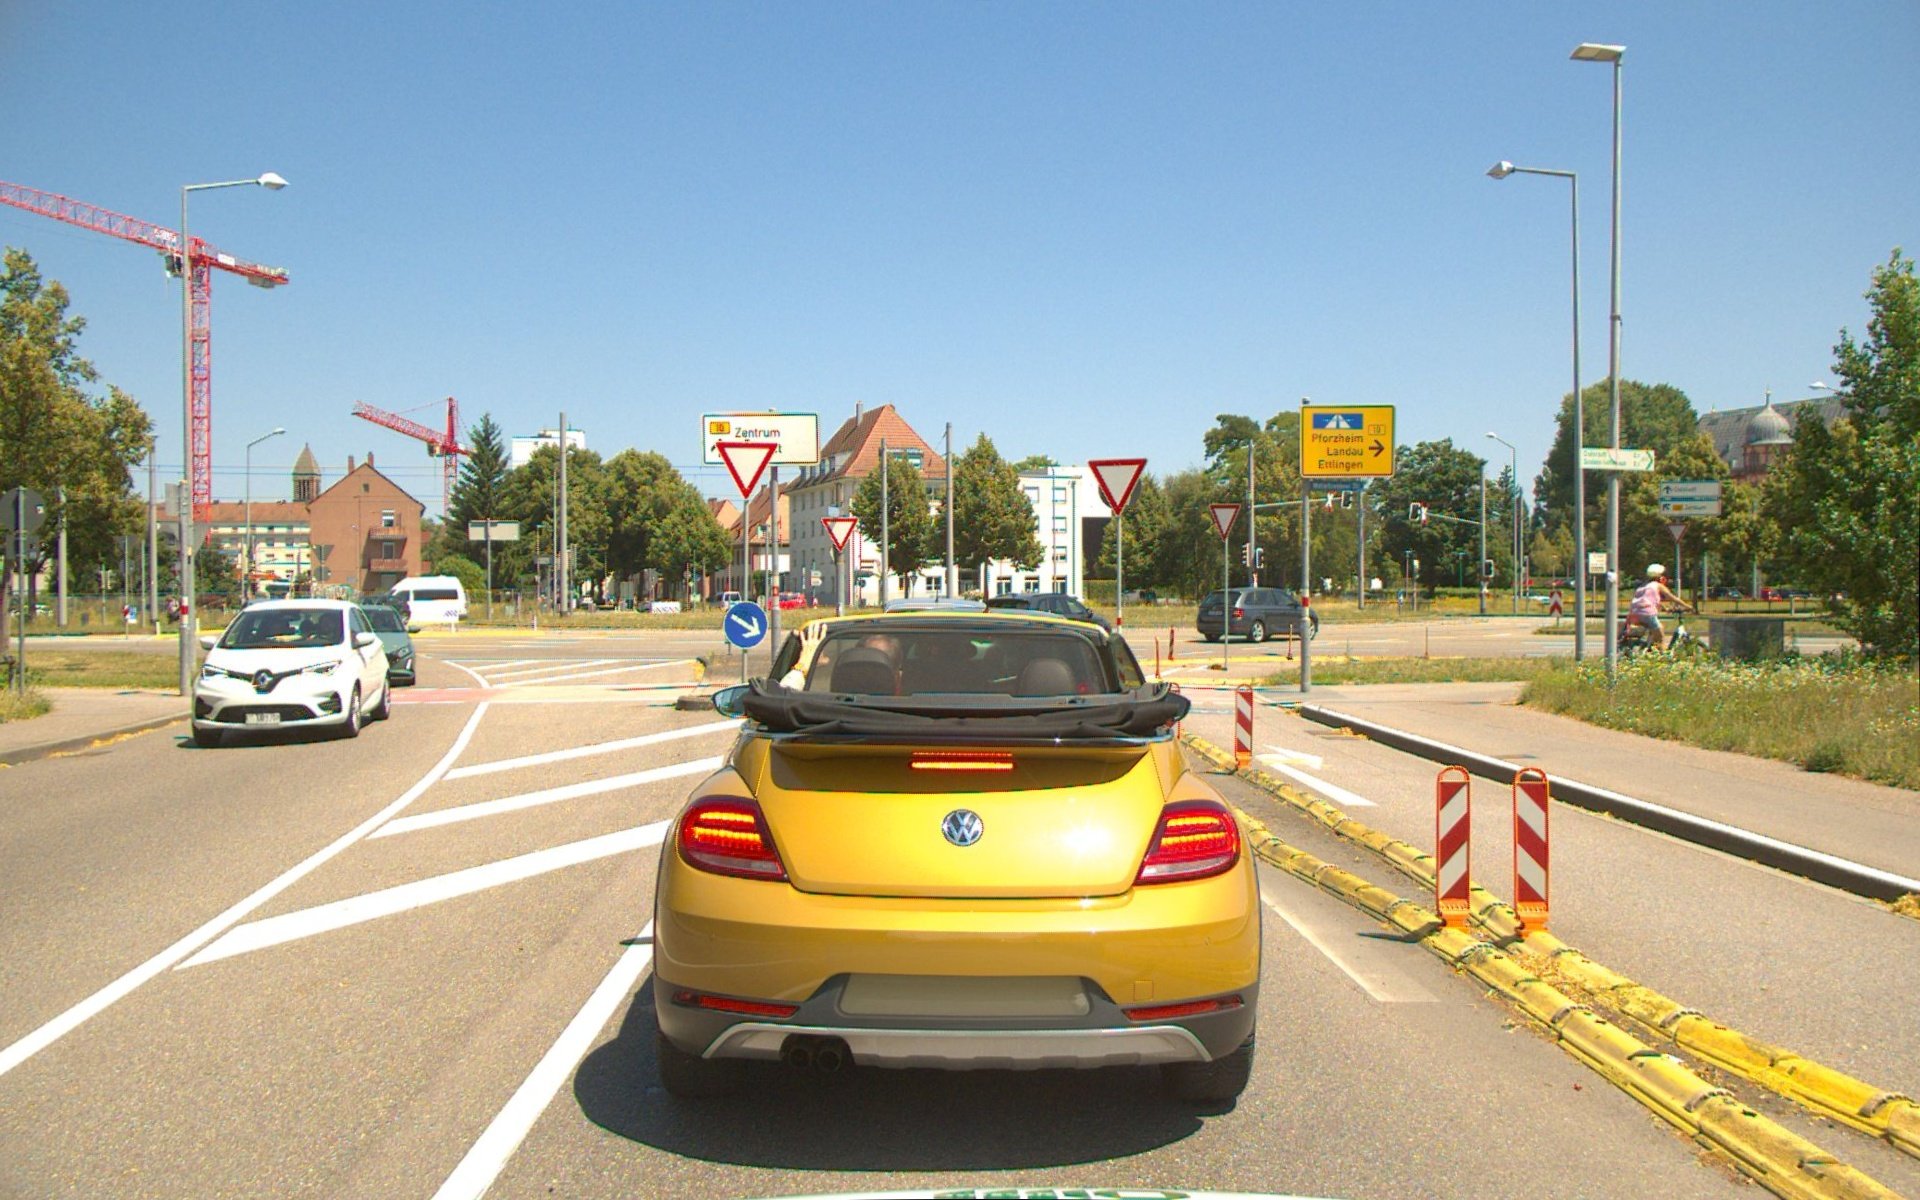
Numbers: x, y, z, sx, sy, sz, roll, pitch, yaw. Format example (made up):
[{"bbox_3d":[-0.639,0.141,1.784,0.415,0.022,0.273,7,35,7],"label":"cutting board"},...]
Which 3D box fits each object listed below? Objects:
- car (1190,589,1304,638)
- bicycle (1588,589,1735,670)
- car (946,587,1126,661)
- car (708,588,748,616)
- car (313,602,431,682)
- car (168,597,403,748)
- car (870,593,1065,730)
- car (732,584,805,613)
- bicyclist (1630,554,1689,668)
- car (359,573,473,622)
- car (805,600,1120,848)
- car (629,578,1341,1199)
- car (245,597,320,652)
[{"bbox_3d":[7.800,0.380,44.837,3.190,1.281,1.417,1,0,-42],"label":"car"},{"bbox_3d":[11.099,0.460,26.199,2.048,1.242,0.634,-1,0,1],"label":"bicycle"},{"bbox_3d":[1.757,0.486,36.495,2.027,1.506,4.532,-1,0,32],"label":"car"},{"bbox_3d":[-17.934,0.149,127.639,1.958,2.107,5.297,1,0,-20],"label":"car"},{"bbox_3d":[-11.015,0.745,31.223,1.717,1.395,4.314,1,0,-15],"label":"car"},{"bbox_3d":[-7.768,0.758,19.415,1.743,1.554,3.863,-1,0,-10],"label":"car"},{"bbox_3d":[0.007,0.659,19.496,2.023,1.406,4.256,1,0,-2],"label":"car"},{"bbox_3d":[-11.903,-0.071,102.854,4.262,1.683,1.893,1,0,-16],"label":"car"},{"bbox_3d":[11.076,0.164,26.201,0.656,1.783,0.592,-1,1,1],"label":"bicyclist"},{"bbox_3d":[-28.365,-0.089,86.314,5.268,2.439,1.969,1,-1,-36],"label":"car"},{"bbox_3d":[-0.017,0.717,11.736,1.814,1.389,4.257,-1,0,-1],"label":"car"},{"bbox_3d":[0.037,0.722,6.197,1.729,1.507,4.257,1,0,-1],"label":"car"},{"bbox_3d":[-18.585,0.645,45.263,1.705,1.427,4.237,1,0,-25],"label":"car"}]
